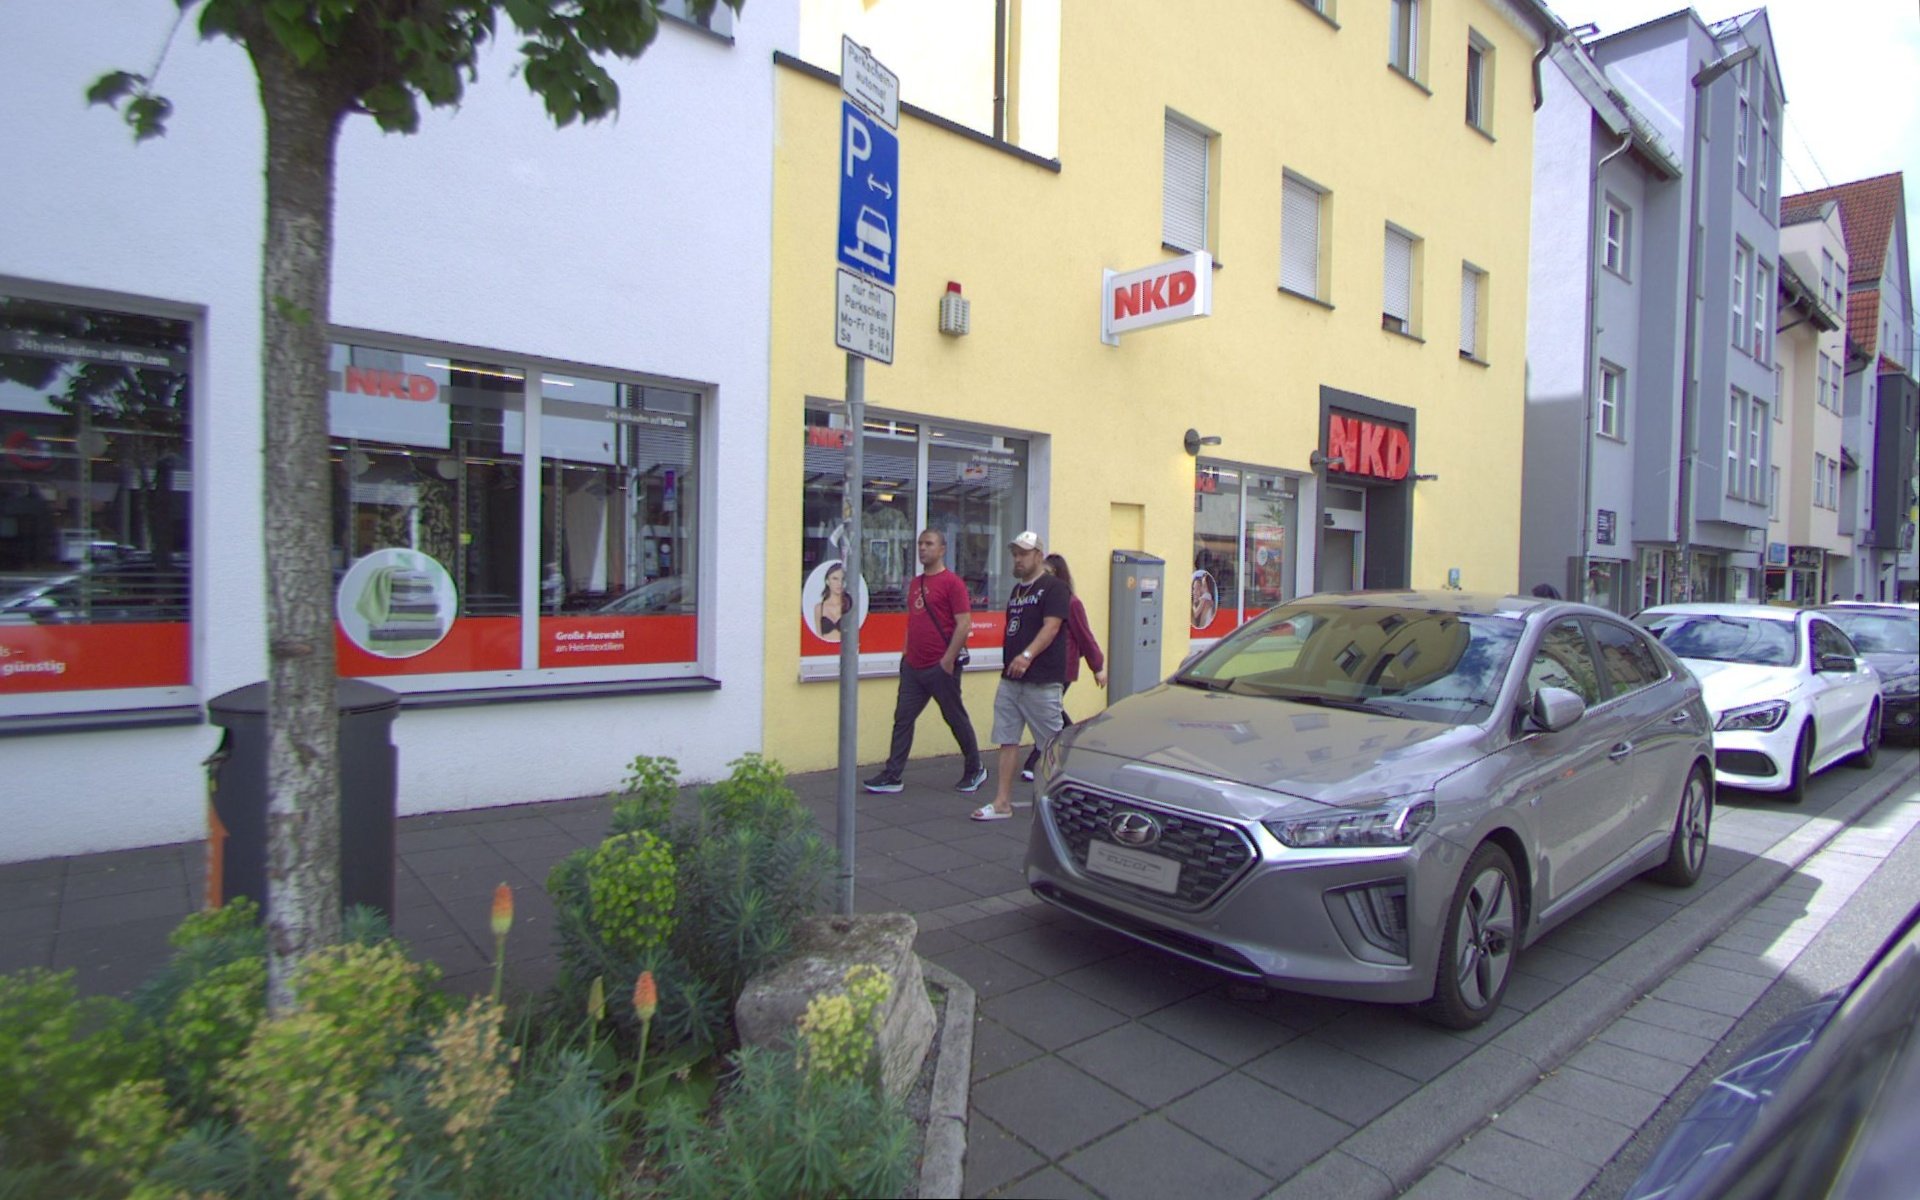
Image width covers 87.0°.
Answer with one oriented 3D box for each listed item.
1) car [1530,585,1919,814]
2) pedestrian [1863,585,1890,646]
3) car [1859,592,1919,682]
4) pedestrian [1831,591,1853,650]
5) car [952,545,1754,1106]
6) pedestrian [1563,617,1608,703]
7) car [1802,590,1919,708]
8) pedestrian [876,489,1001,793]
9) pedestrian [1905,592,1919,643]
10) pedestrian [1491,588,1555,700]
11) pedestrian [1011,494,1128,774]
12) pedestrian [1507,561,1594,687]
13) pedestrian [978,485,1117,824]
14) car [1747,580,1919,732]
[{"bbox_3d":[6.846,0.624,8.817,4.869,1.494,1.634,-1,1,-39],"label":"car"},{"bbox_3d":[26.712,0.440,29.500,0.596,1.739,0.536,0,0,-42],"label":"pedestrian"},{"bbox_3d":[18.012,0.654,18.712,4.225,1.458,1.691,-1,5,-44],"label":"car"},{"bbox_3d":[26.187,0.603,30.032,0.528,1.739,0.436,0,0,-43],"label":"pedestrian"},{"bbox_3d":[2.142,0.572,4.759,4.278,1.494,1.724,-1,1,-41],"label":"car"},{"bbox_3d":[7.673,0.730,12.418,0.288,1.013,0.352,1,1,-15],"label":"pedestrian"},{"bbox_3d":[14.281,0.661,15.425,3.691,1.594,1.692,-1,1,-42],"label":"car"},{"bbox_3d":[-0.142,0.246,6.605,0.566,1.864,0.589,0,0,-40],"label":"pedestrian"},{"bbox_3d":[33.542,0.617,35.316,0.644,1.739,0.745,0,2,-42],"label":"pedestrian"},{"bbox_3d":[7.126,0.548,12.821,0.527,1.381,0.446,1,1,-24],"label":"pedestrian"},{"bbox_3d":[0.771,0.223,7.163,0.566,1.864,0.589,0,0,-40],"label":"pedestrian"},{"bbox_3d":[7.689,0.285,13.180,0.713,1.572,0.751,0,2,-41],"label":"pedestrian"},{"bbox_3d":[0.517,0.296,5.988,0.566,1.864,0.589,0,0,-40],"label":"pedestrian"},{"bbox_3d":[10.708,0.605,11.867,4.447,1.491,1.691,2,-1,-43],"label":"car"}]
